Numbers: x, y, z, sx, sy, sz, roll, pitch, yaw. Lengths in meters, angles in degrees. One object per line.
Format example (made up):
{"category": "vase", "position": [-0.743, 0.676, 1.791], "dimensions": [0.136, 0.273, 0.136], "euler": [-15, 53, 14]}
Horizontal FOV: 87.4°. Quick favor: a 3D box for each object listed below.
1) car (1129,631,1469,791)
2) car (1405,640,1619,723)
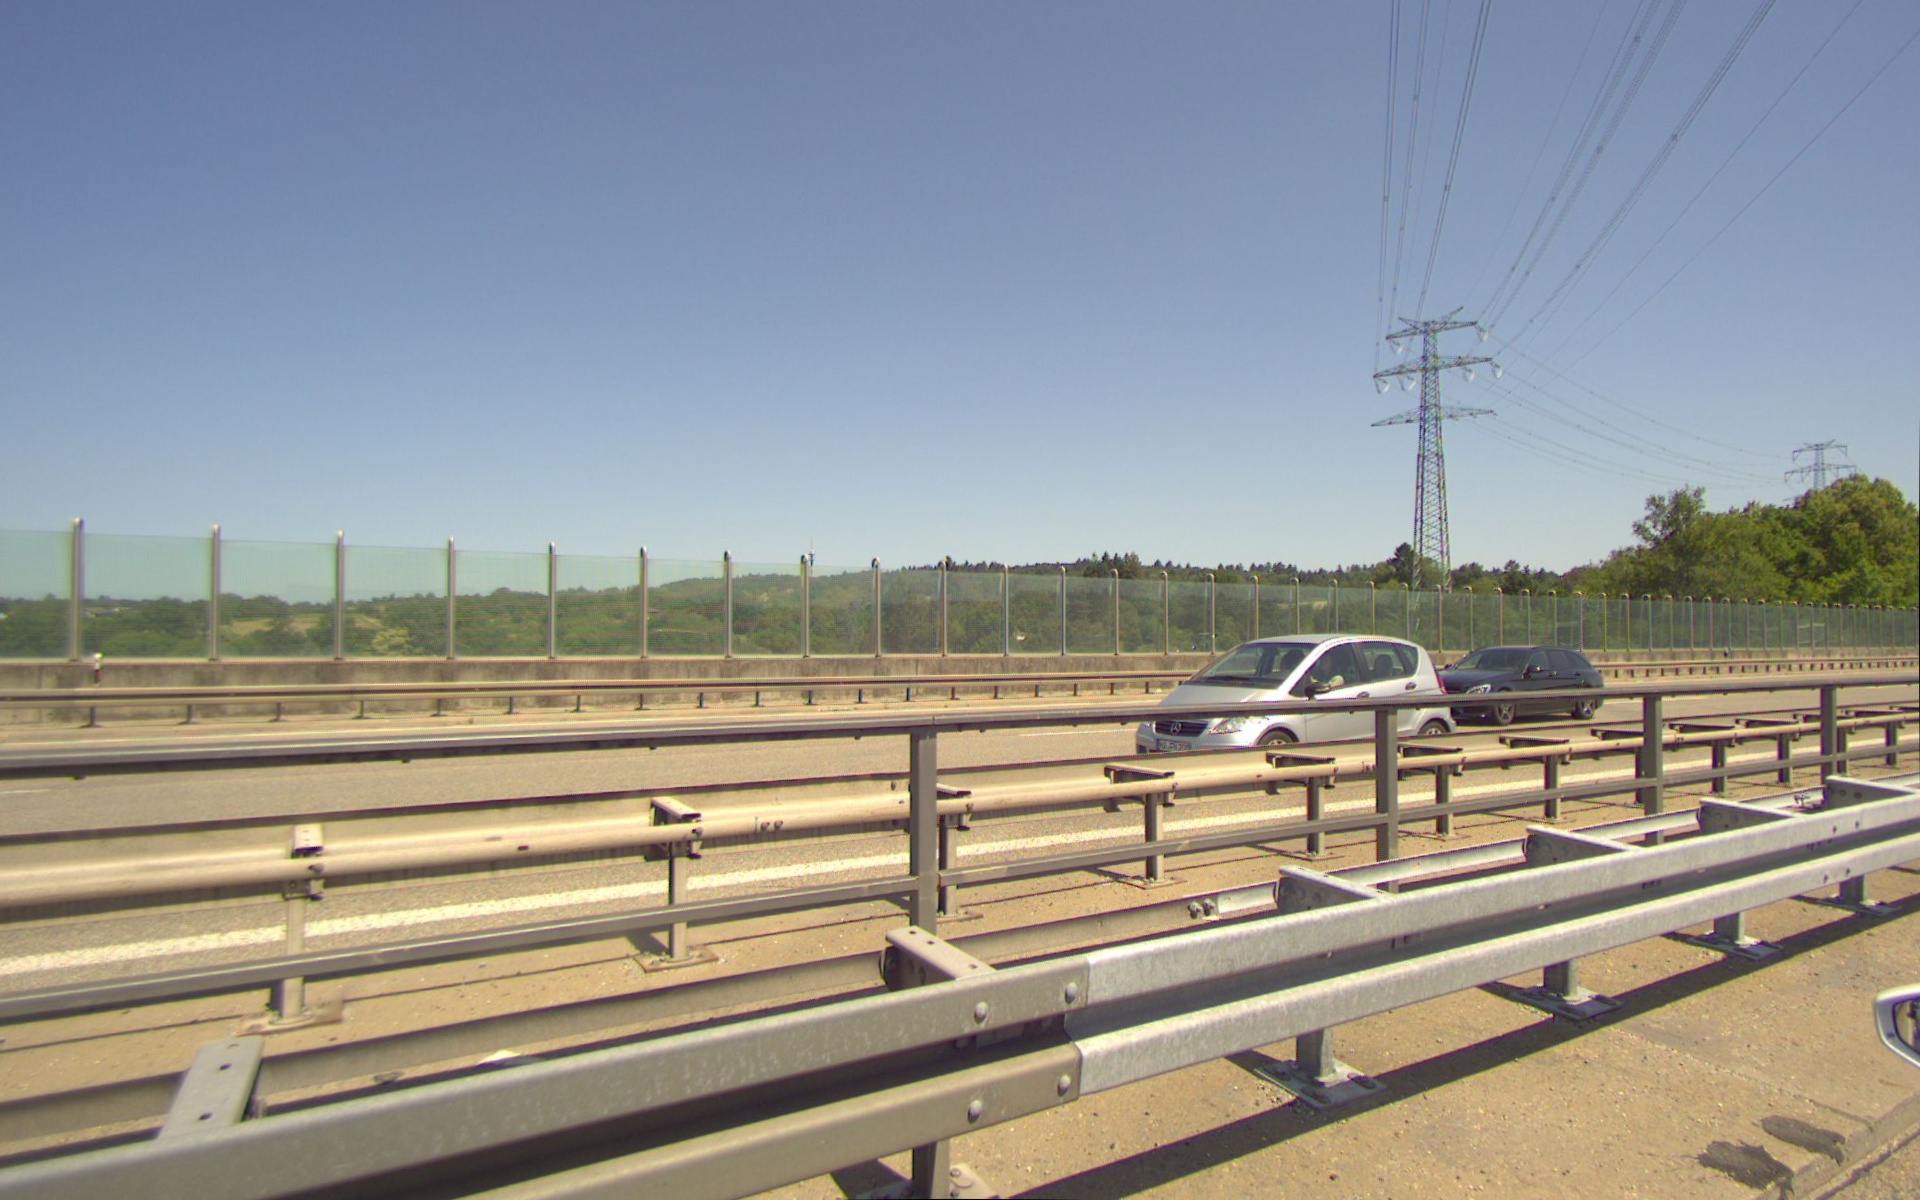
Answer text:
{"category": "car", "position": [3.871, 1.141, 11.427], "dimensions": [3.517, 1.549, 1.832], "euler": [1, -2, -31]}
{"category": "car", "position": [10.895, 1.551, 19.763], "dimensions": [4.214, 1.404, 1.792], "euler": [2, 0, -31]}
